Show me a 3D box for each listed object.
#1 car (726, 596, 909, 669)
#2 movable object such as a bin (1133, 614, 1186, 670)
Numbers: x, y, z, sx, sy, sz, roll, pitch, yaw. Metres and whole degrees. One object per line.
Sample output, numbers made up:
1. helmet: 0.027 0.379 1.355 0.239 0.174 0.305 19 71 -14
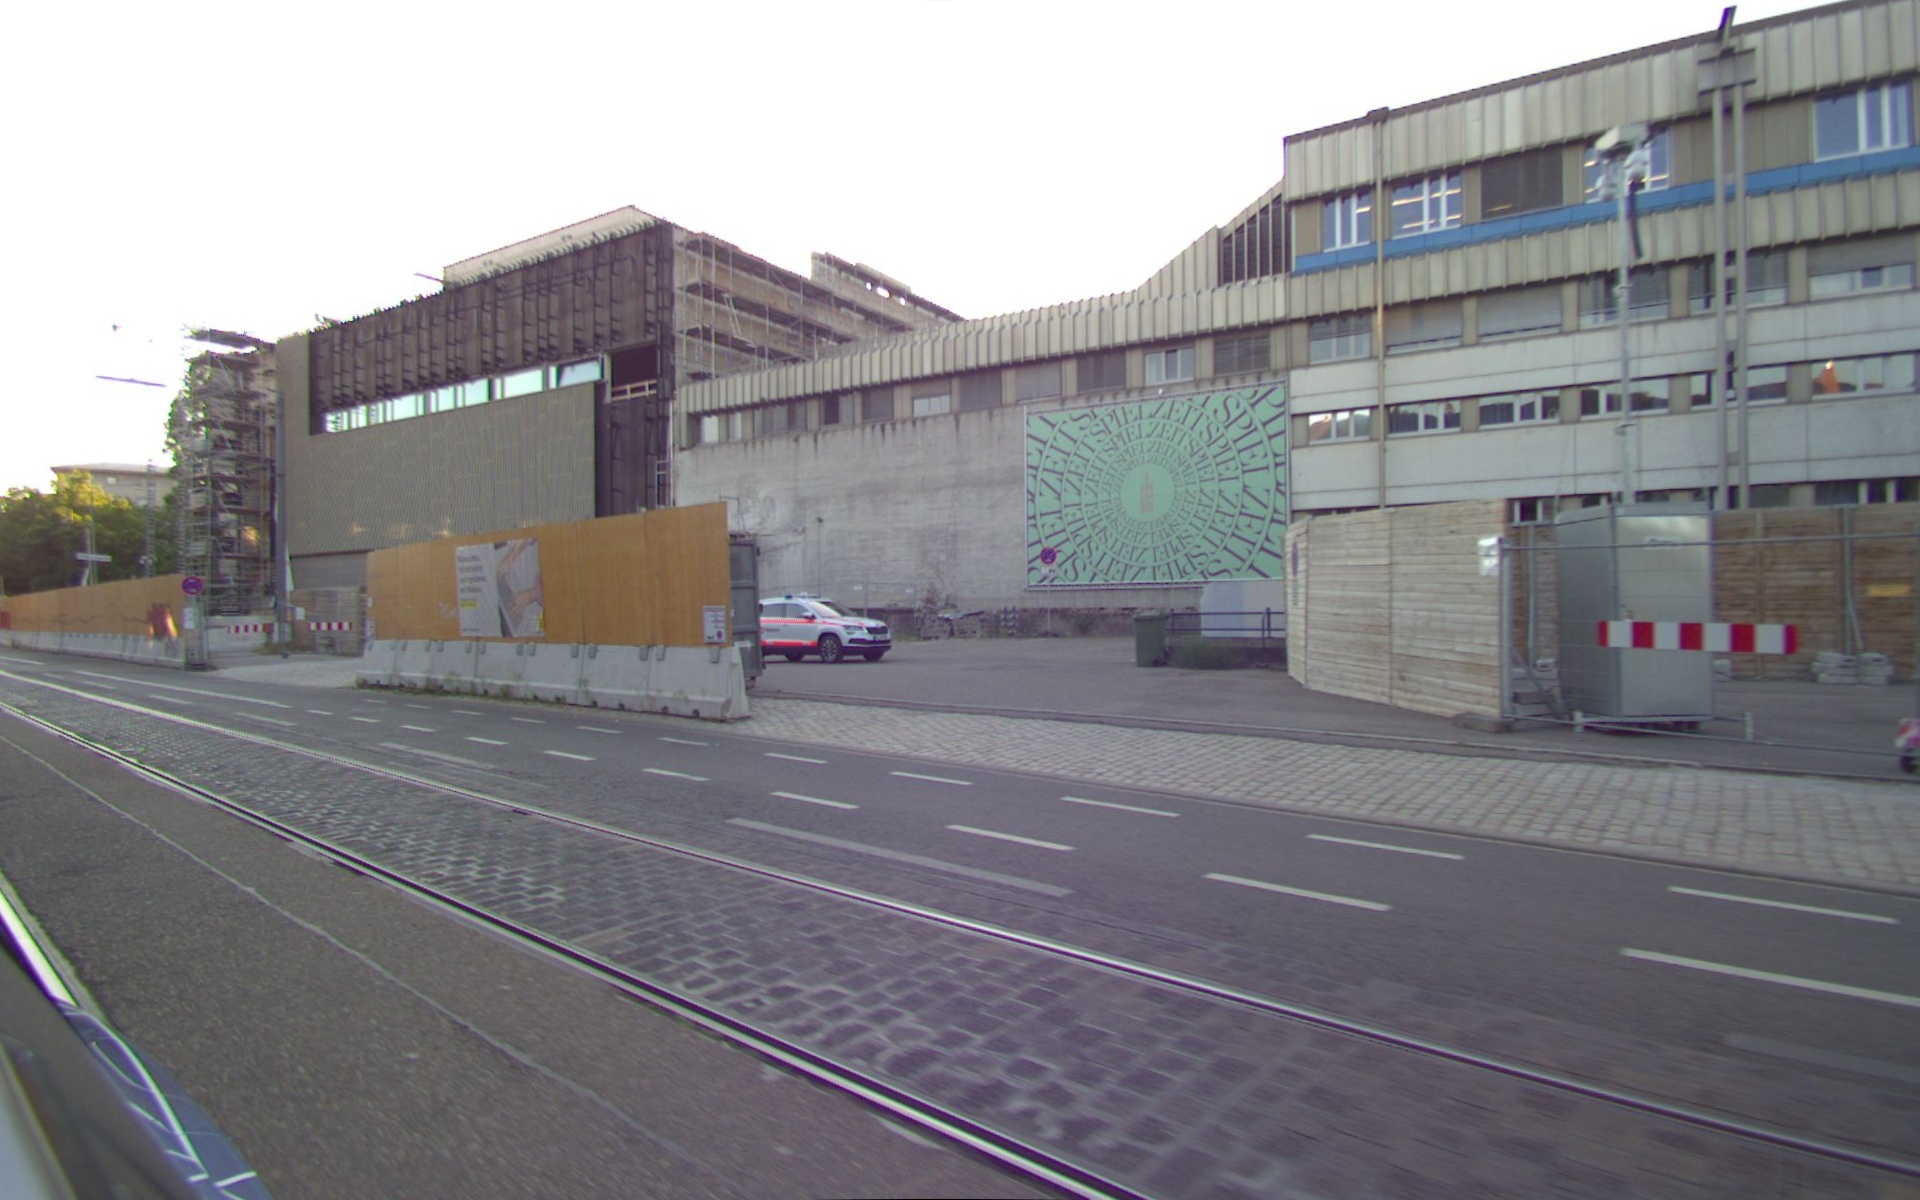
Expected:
1. car: -3.579 0.778 25.139 4.268 1.676 1.977 -1 -1 34
2. movable object such as a bin: 3.943 0.818 19.965 0.760 1.043 0.832 -1 -1 33
